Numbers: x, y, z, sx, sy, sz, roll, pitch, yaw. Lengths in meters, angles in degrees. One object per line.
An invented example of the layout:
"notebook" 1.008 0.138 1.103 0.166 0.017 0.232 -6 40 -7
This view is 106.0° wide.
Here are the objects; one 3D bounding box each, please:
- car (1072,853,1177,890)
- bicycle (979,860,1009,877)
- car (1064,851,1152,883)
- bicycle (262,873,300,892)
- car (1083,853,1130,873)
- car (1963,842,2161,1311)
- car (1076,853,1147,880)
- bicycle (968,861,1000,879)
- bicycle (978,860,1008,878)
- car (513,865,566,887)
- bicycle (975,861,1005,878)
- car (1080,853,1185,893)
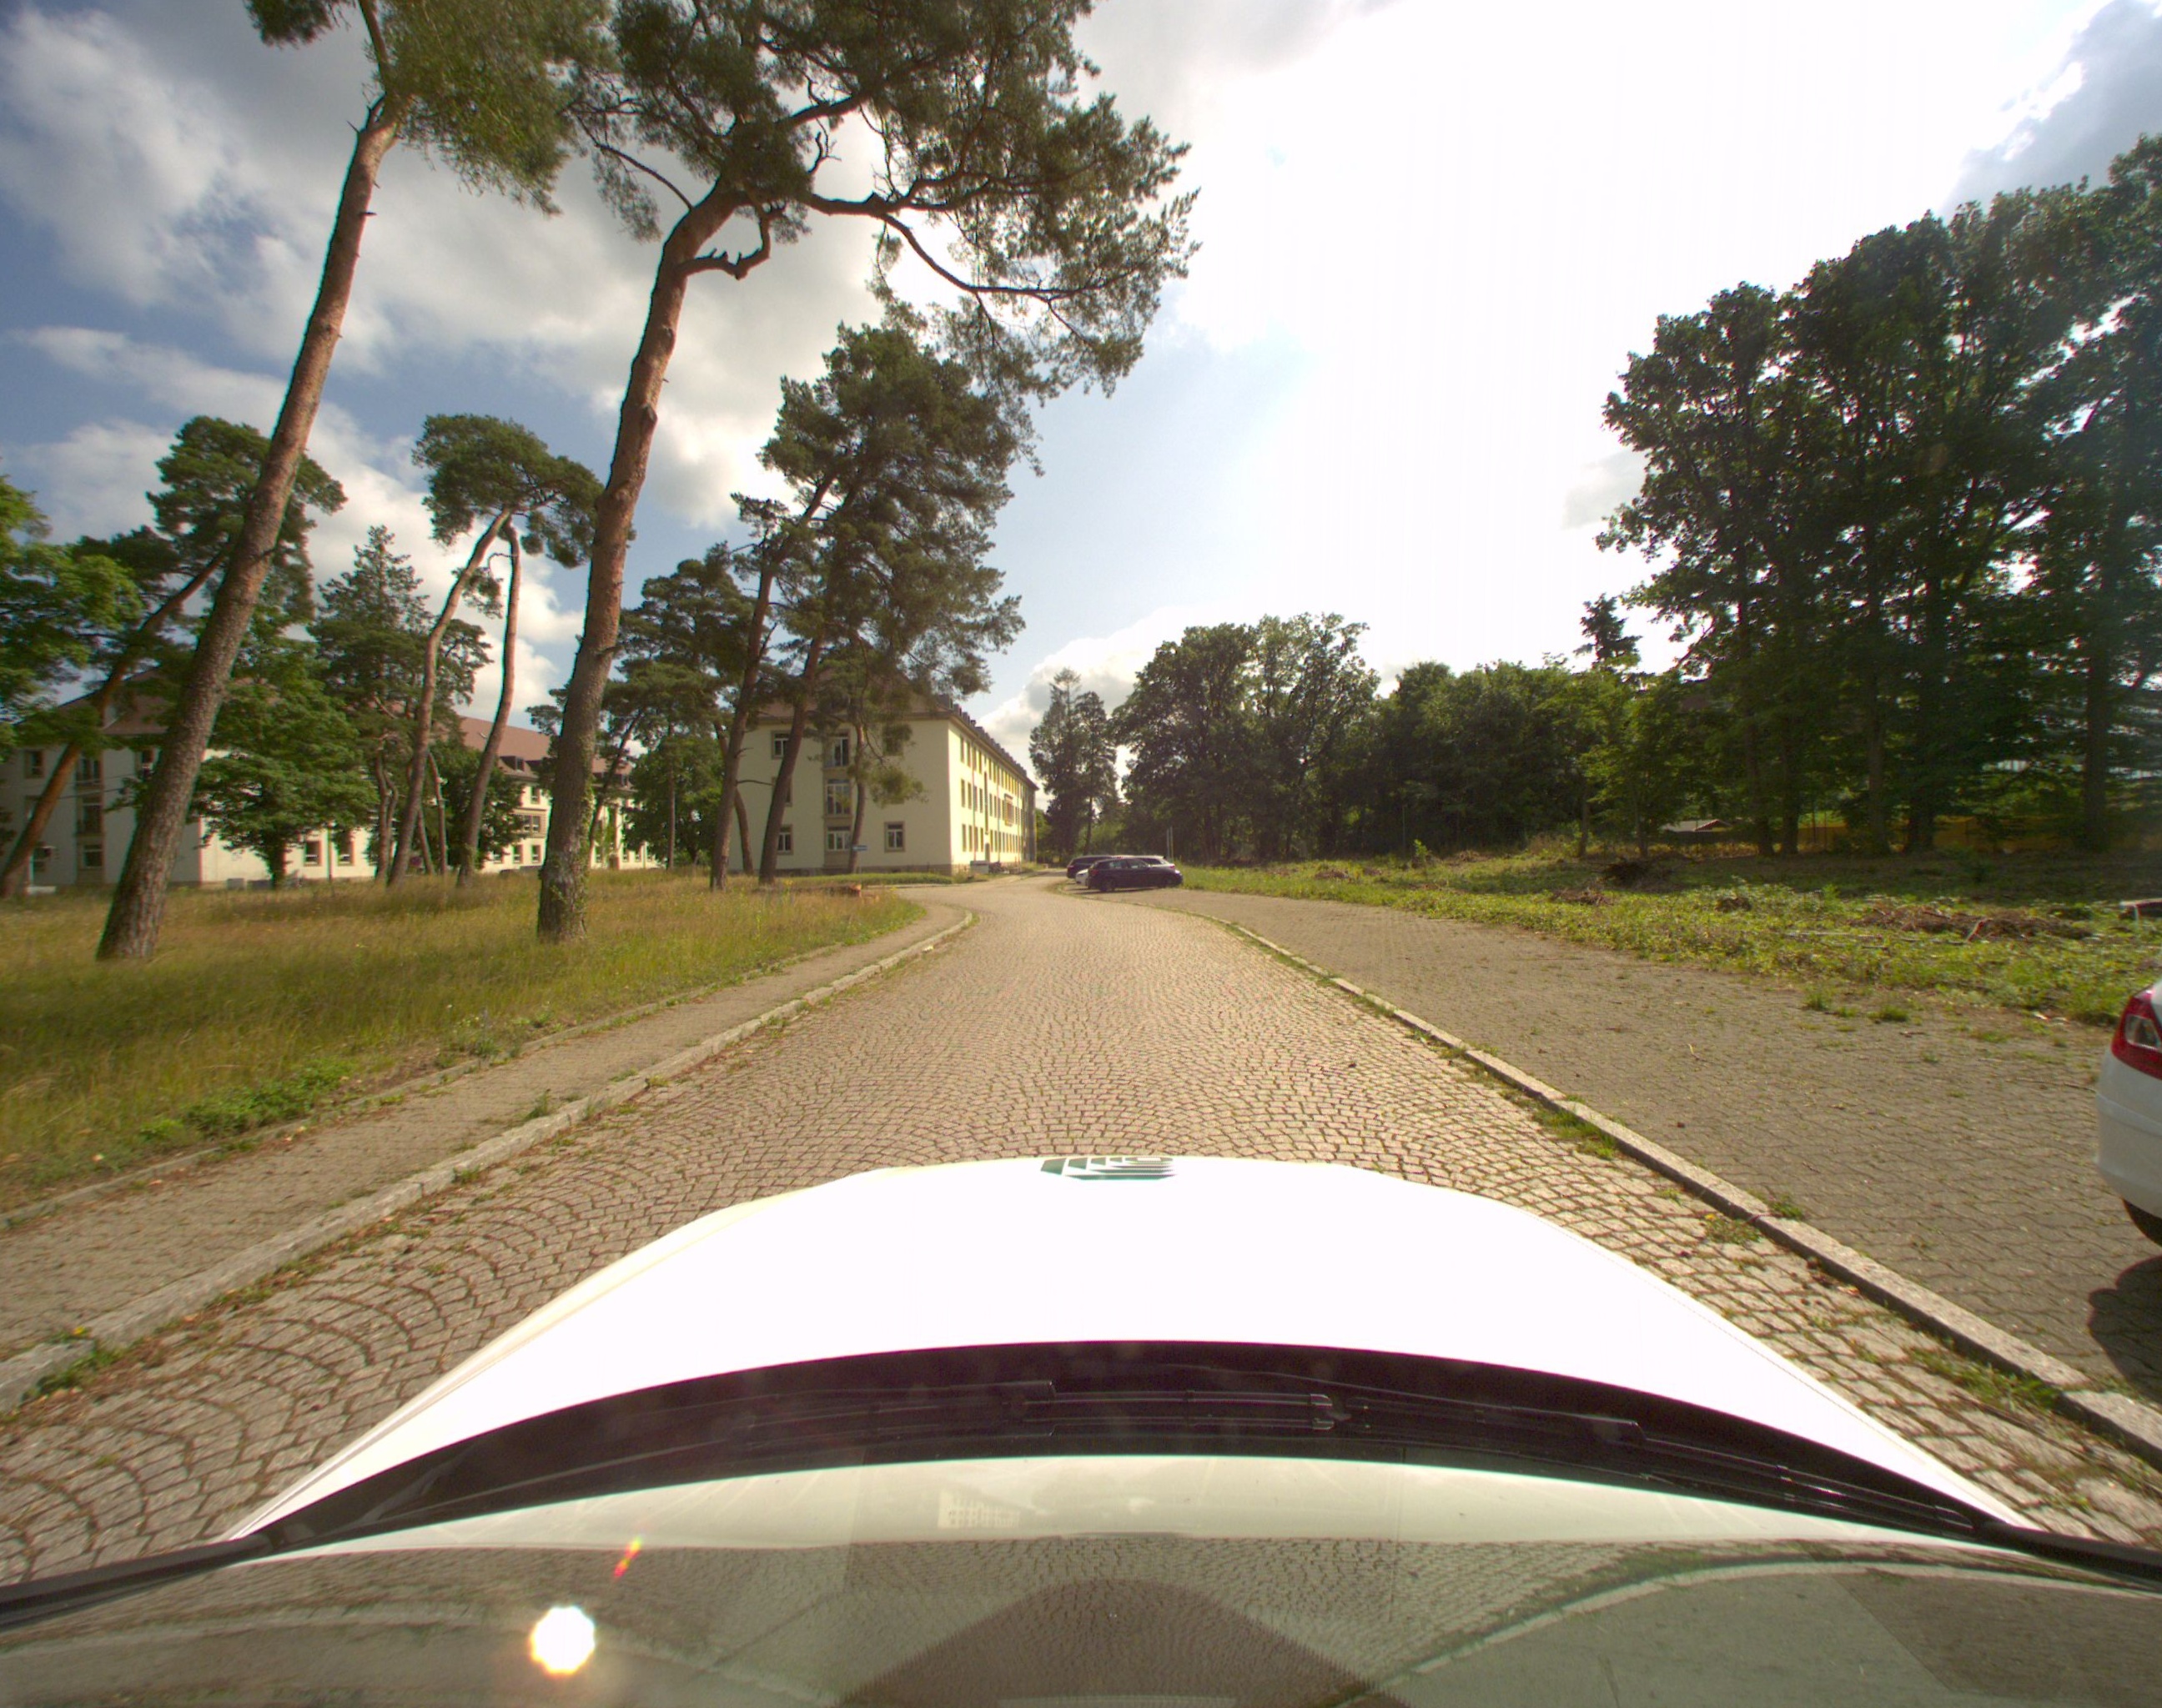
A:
"car" 2.062 0.830 39.137 4.846 1.472 1.874 -3 1 0
"bicycle" -6.894 1.178 64.739 2.212 1.260 0.624 -2 -1 3
"car" 1.527 0.753 46.505 4.837 1.552 1.879 -3 -1 0
"bicycle" -48.319 1.721 49.214 0.486 1.100 1.592 -2 0 13
"car" 2.352 0.834 74.633 4.169 1.543 1.822 -3 -1 3
"car" 5.416 0.615 2.295 4.030 1.464 1.703 -3 0 -1
"car" 1.910 0.806 51.813 4.384 1.484 1.765 -3 -1 0
"bicycle" -7.272 1.186 61.056 2.209 1.260 0.624 -2 -1 7
"bicycle" -6.910 1.173 63.730 2.212 1.260 0.624 -2 -1 3
"car" -53.814 2.179 80.934 4.043 1.991 1.714 -2 0 2
"bicycle" -7.005 1.186 62.792 2.209 1.260 0.624 -2 -1 7
"car" 2.246 0.818 35.955 4.320 1.500 1.826 -3 1 -7
